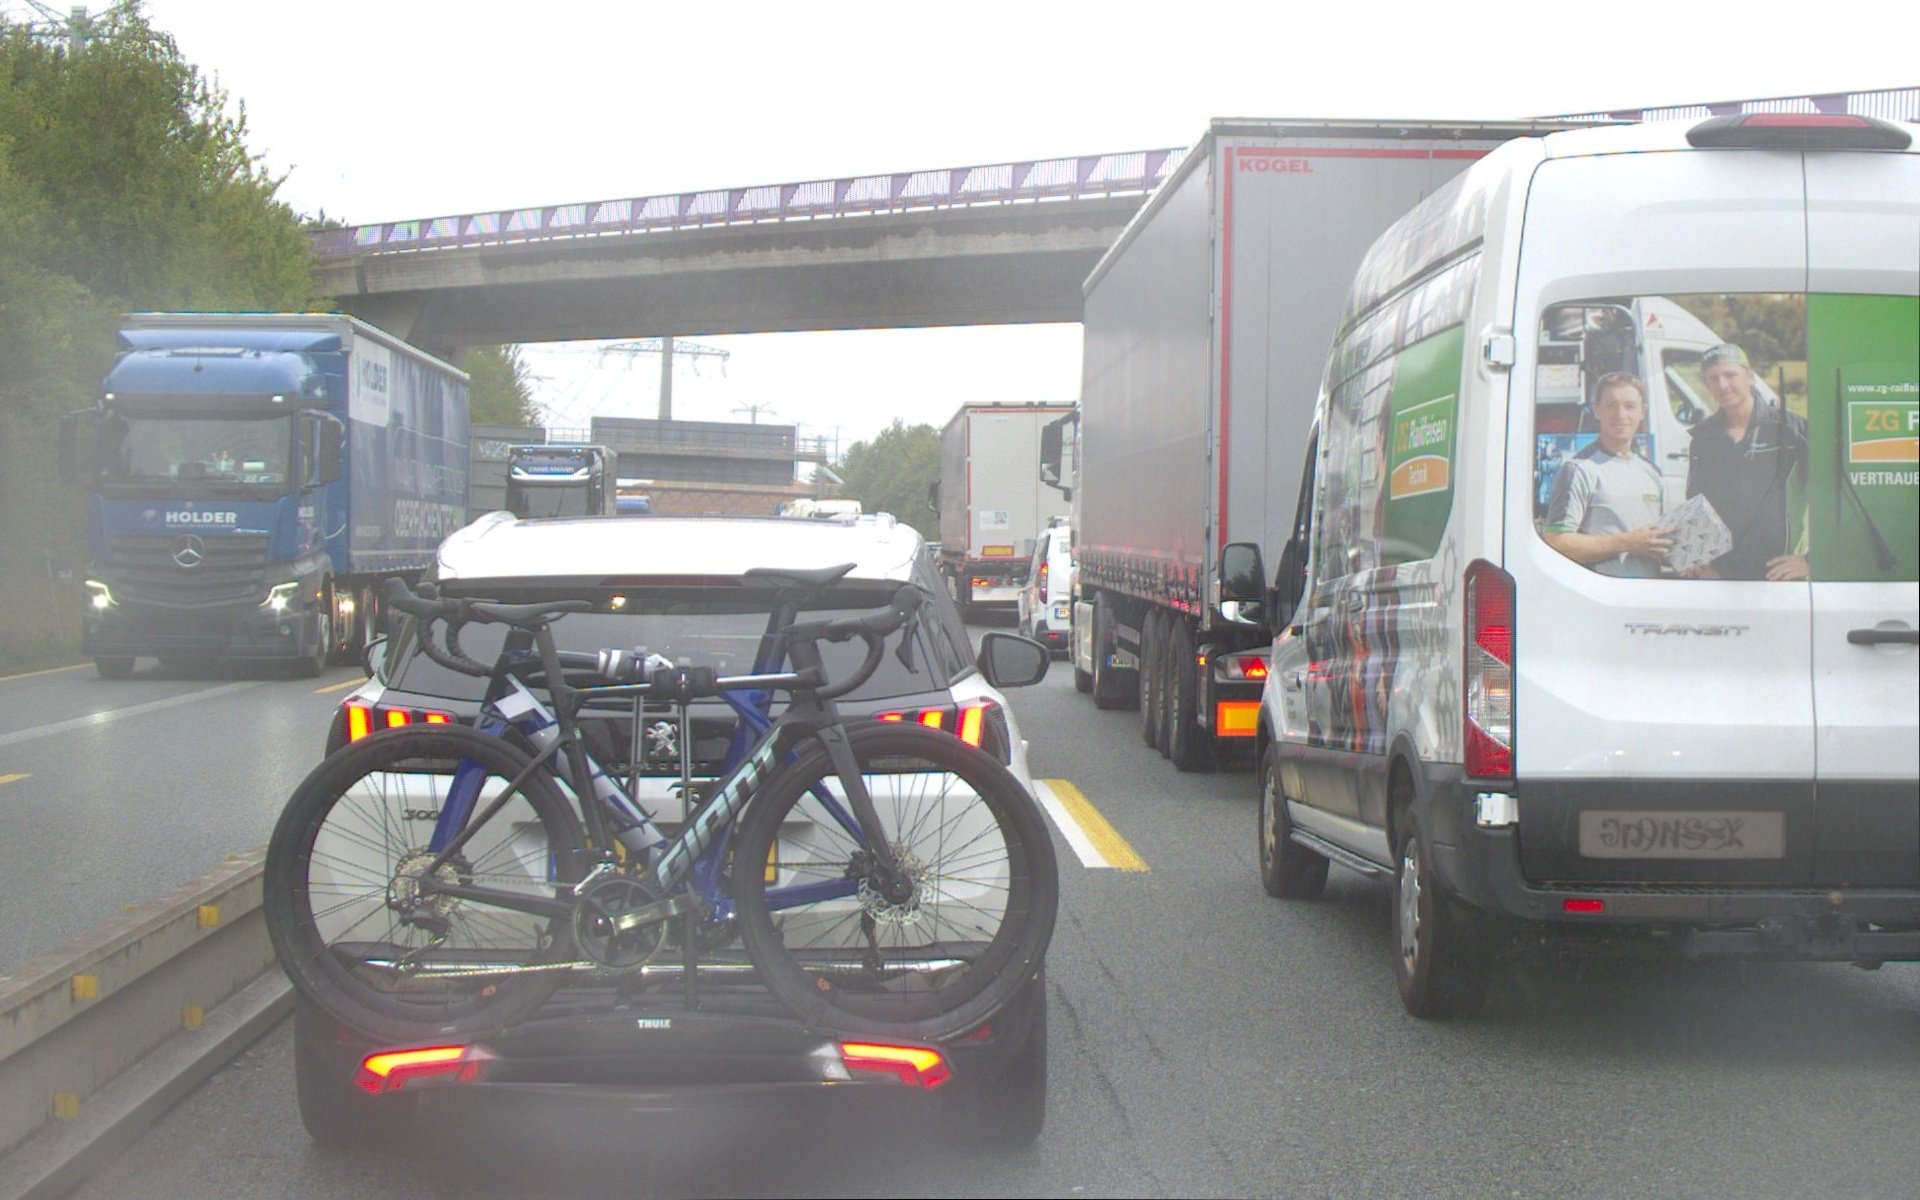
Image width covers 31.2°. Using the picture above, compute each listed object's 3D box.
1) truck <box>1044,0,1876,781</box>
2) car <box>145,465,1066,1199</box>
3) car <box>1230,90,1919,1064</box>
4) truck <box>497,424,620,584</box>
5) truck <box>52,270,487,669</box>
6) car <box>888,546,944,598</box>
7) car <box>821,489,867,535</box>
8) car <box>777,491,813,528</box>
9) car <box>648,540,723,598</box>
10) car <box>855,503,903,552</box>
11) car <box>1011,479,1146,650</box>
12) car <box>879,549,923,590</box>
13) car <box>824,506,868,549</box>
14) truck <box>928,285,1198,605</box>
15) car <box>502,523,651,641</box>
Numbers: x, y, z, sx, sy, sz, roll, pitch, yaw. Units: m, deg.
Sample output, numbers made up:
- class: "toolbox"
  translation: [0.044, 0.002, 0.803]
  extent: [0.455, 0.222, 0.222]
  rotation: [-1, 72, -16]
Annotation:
- class: "truck"
  translation: [3.106, -1.925, 29.794]
  extent: [3.979, 5.654, 20.377]
  rotation: [1, 1, -1]
- class: "car"
  translation: [-0.690, 0.535, 9.131]
  extent: [1.810, 1.632, 4.635]
  rotation: [1, 1, 0]
- class: "car"
  translation: [2.318, -0.090, 12.522]
  extent: [2.144, 2.667, 6.117]
  rotation: [1, 1, 0]
- class: "truck"
  translation: [-10.834, -2.528, 93.551]
  extent: [2.464, 4.109, 10.089]
  rotation: [1, 1, -2]
- class: "truck"
  translation: [-8.327, -1.447, 44.144]
  extent: [2.765, 4.109, 16.929]
  rotation: [1, 1, -2]
- class: "car"
  translation: [-1.310, -0.832, 102.443]
  extent: [1.638, 1.492, 3.666]
  rotation: [1, 1, -1]
- class: "car"
  translation: [-5.976, -4.539, 177.808]
  extent: [2.239, 2.299, 4.572]
  rotation: [1, 1, -1]
- class: "car"
  translation: [-9.951, -5.480, 208.052]
  extent: [1.993, 2.119, 4.527]
  rotation: [1, 1, -1]
- class: "car"
  translation: [-7.287, -0.821, 91.487]
  extent: [1.938, 1.489, 4.001]
  rotation: [1, 1, -4]
- class: "car"
  translation: [-3.460, -3.071, 146.161]
  extent: [1.993, 2.007, 4.000]
  rotation: [1, 1, -2]
- class: "car"
  translation: [1.553, -0.481, 46.299]
  extent: [1.670, 2.173, 4.535]
  rotation: [1, 1, 0]
- class: "car"
  translation: [-2.205, -1.164, 129.272]
  extent: [1.638, 1.492, 3.666]
  rotation: [1, 1, -1]
- class: "car"
  translation: [-5.463, -3.467, 164.756]
  extent: [1.993, 2.007, 4.000]
  rotation: [1, 1, -1]
- class: "truck"
  translation: [1.900, -2.870, 71.475]
  extent: [4.743, 5.654, 20.376]
  rotation: [1, 1, 0]
- class: "car"
  translation: [-5.445, -0.270, 49.213]
  extent: [1.783, 1.604, 4.104]
  rotation: [1, 1, -2]
